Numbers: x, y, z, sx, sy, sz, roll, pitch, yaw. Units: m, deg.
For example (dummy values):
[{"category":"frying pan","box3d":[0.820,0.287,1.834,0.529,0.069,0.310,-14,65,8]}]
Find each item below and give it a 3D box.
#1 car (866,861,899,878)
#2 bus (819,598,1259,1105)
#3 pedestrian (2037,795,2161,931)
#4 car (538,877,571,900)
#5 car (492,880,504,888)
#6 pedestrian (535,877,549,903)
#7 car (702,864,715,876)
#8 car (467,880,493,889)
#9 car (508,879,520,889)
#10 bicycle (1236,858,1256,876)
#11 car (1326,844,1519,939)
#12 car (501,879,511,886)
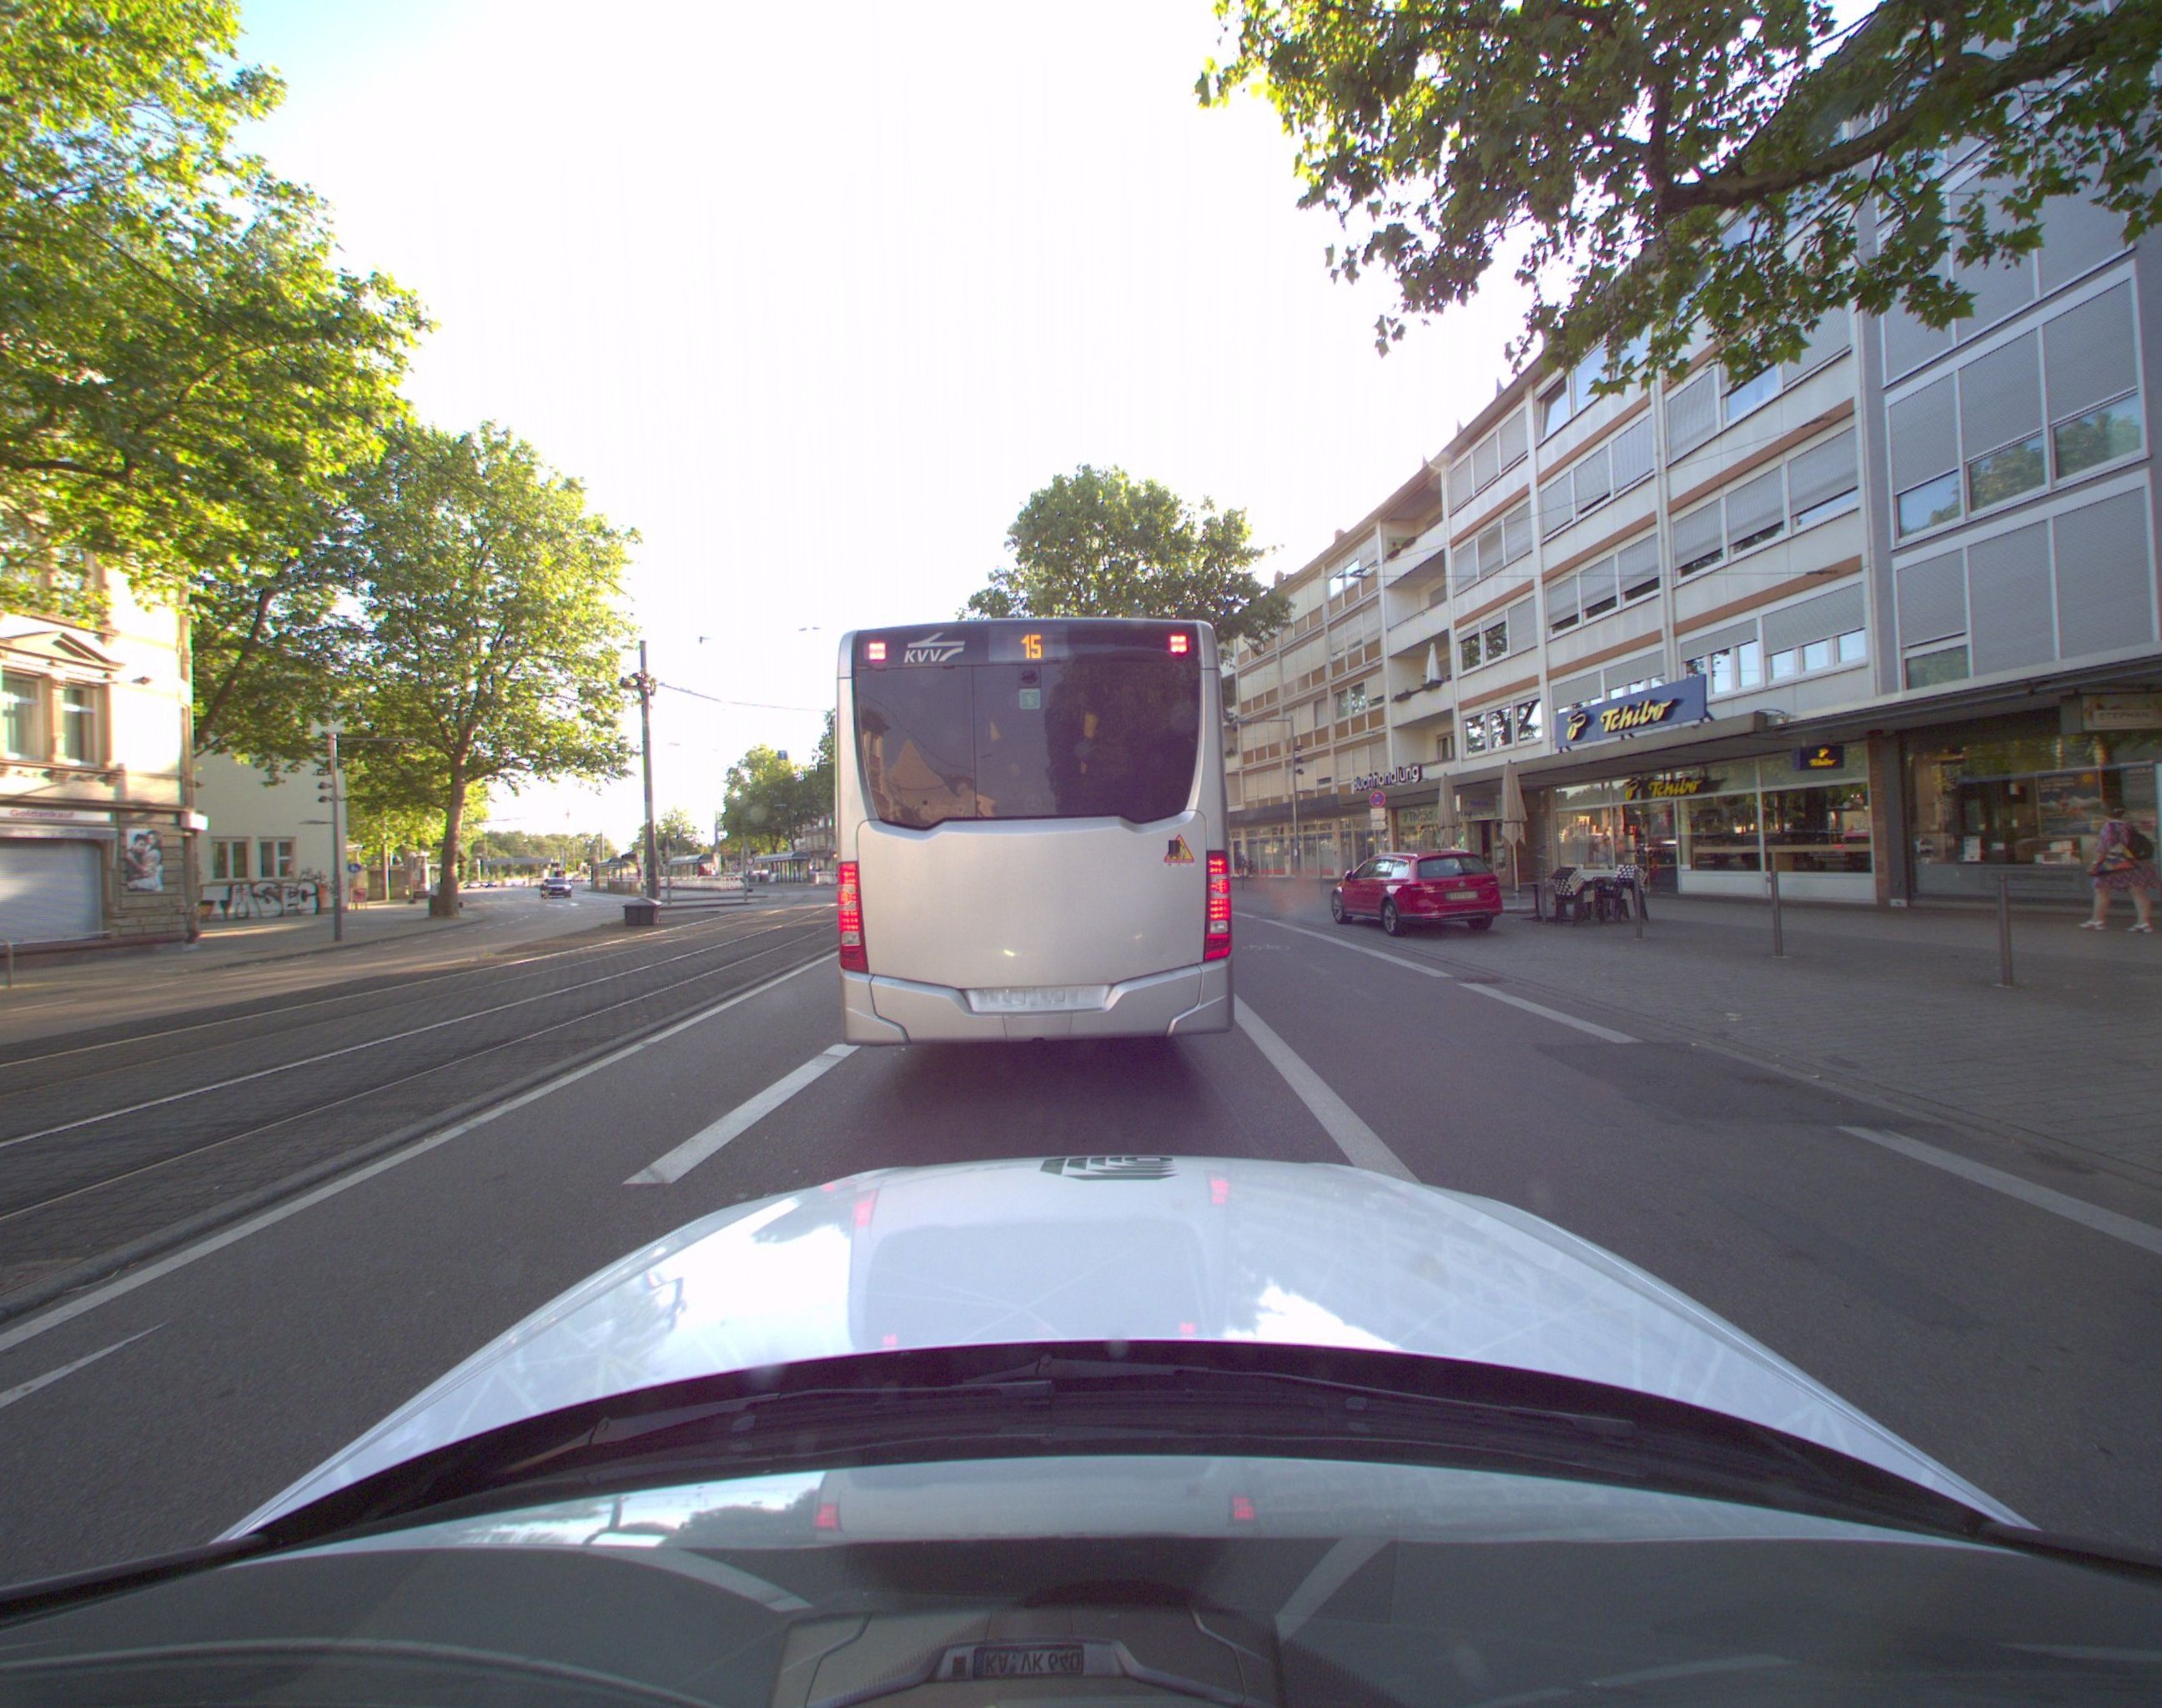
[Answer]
[{"category":"car","box3d":[-21.642,1.704,88.767,2.010,1.792,3.954,0,-1,-39]},{"category":"bus","box3d":[-0.112,0.013,9.931,2.621,3.028,10.000,-1,0,2]},{"category":"pedestrian","box3d":[12.799,0.108,10.188,0.649,1.592,0.788,-4,-1,-4]},{"category":"car","box3d":[-39.979,2.599,61.827,2.008,1.640,3.958,-2,-1,-33]},{"category":"car","box3d":[-117.816,6.070,164.683,1.858,1.684,3.676,-2,-1,-35]},{"category":"pedestrian","box3d":[-35.632,2.359,53.832,0.661,1.656,0.438,-2,-1,-41]},{"category":"car","box3d":[-66.207,2.829,144.609,1.629,2.014,3.080,-2,-1,-32]},{"category":"car","box3d":[-122.655,6.306,166.147,1.768,1.640,4.024,-3,-1,44]},{"category":"car","box3d":[-111.434,5.882,160.022,1.858,1.684,3.677,-4,1,-35]},{"category":"bicycle","box3d":[9.231,0.720,45.572,0.413,0.945,1.431,-2,-1,-18]},{"category":"car","box3d":[6.383,0.637,15.823,1.765,1.482,4.300,-3,0,-2]},{"category":"car","box3d":[-130.078,6.454,184.202,1.858,1.684,3.676,-2,-1,-35]}]
